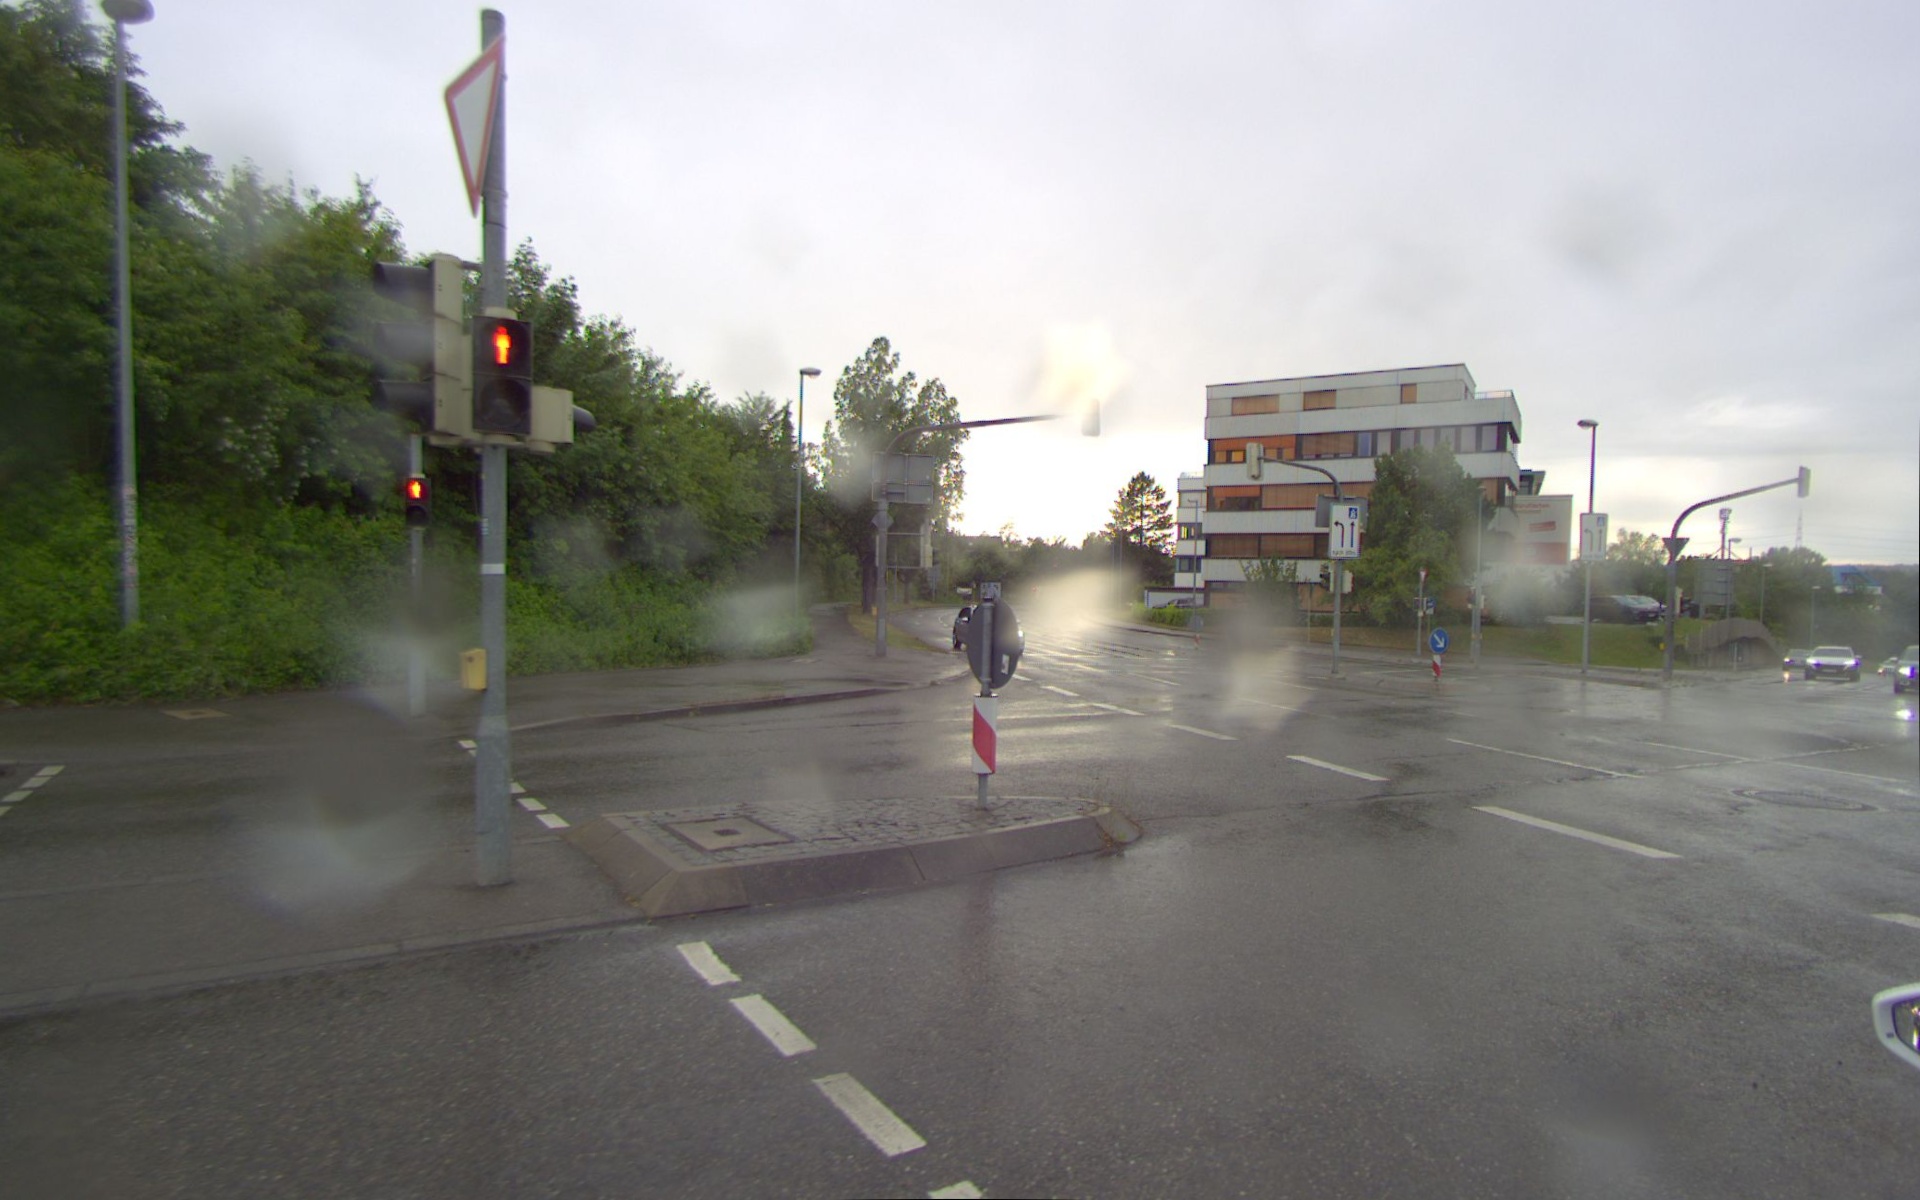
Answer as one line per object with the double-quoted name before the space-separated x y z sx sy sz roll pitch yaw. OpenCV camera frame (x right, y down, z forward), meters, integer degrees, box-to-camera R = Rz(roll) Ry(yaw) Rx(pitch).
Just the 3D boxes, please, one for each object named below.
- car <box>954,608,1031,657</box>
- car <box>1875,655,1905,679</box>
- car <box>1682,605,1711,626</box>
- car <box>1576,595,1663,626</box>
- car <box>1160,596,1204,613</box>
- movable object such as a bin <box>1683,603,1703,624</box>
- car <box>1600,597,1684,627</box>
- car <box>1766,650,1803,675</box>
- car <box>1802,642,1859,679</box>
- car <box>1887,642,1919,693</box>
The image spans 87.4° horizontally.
"car" 0.978 1.014 32.957 1.730 1.381 4.526 2 0 -8
"car" 90.505 6.485 97.765 1.971 2.040 3.979 2 1 42
"car" 60.040 1.298 81.891 1.803 1.461 3.987 4 0 36
"car" 39.526 0.622 60.317 1.873 1.607 3.984 4 0 -18
"car" 20.364 0.446 92.187 3.687 1.418 1.999 2 1 22
"movable object such as a bin" 53.436 0.977 73.231 1.069 1.455 1.442 4 0 36
"car" 41.777 0.727 61.656 1.871 1.607 3.988 4 0 -14
"car" 57.280 4.312 69.774 1.875 1.475 3.981 2 1 40
"car" 40.207 2.781 46.352 1.702 1.514 3.975 2 -1 45
"car" 30.455 2.138 31.659 1.644 1.514 3.975 2 -1 45
